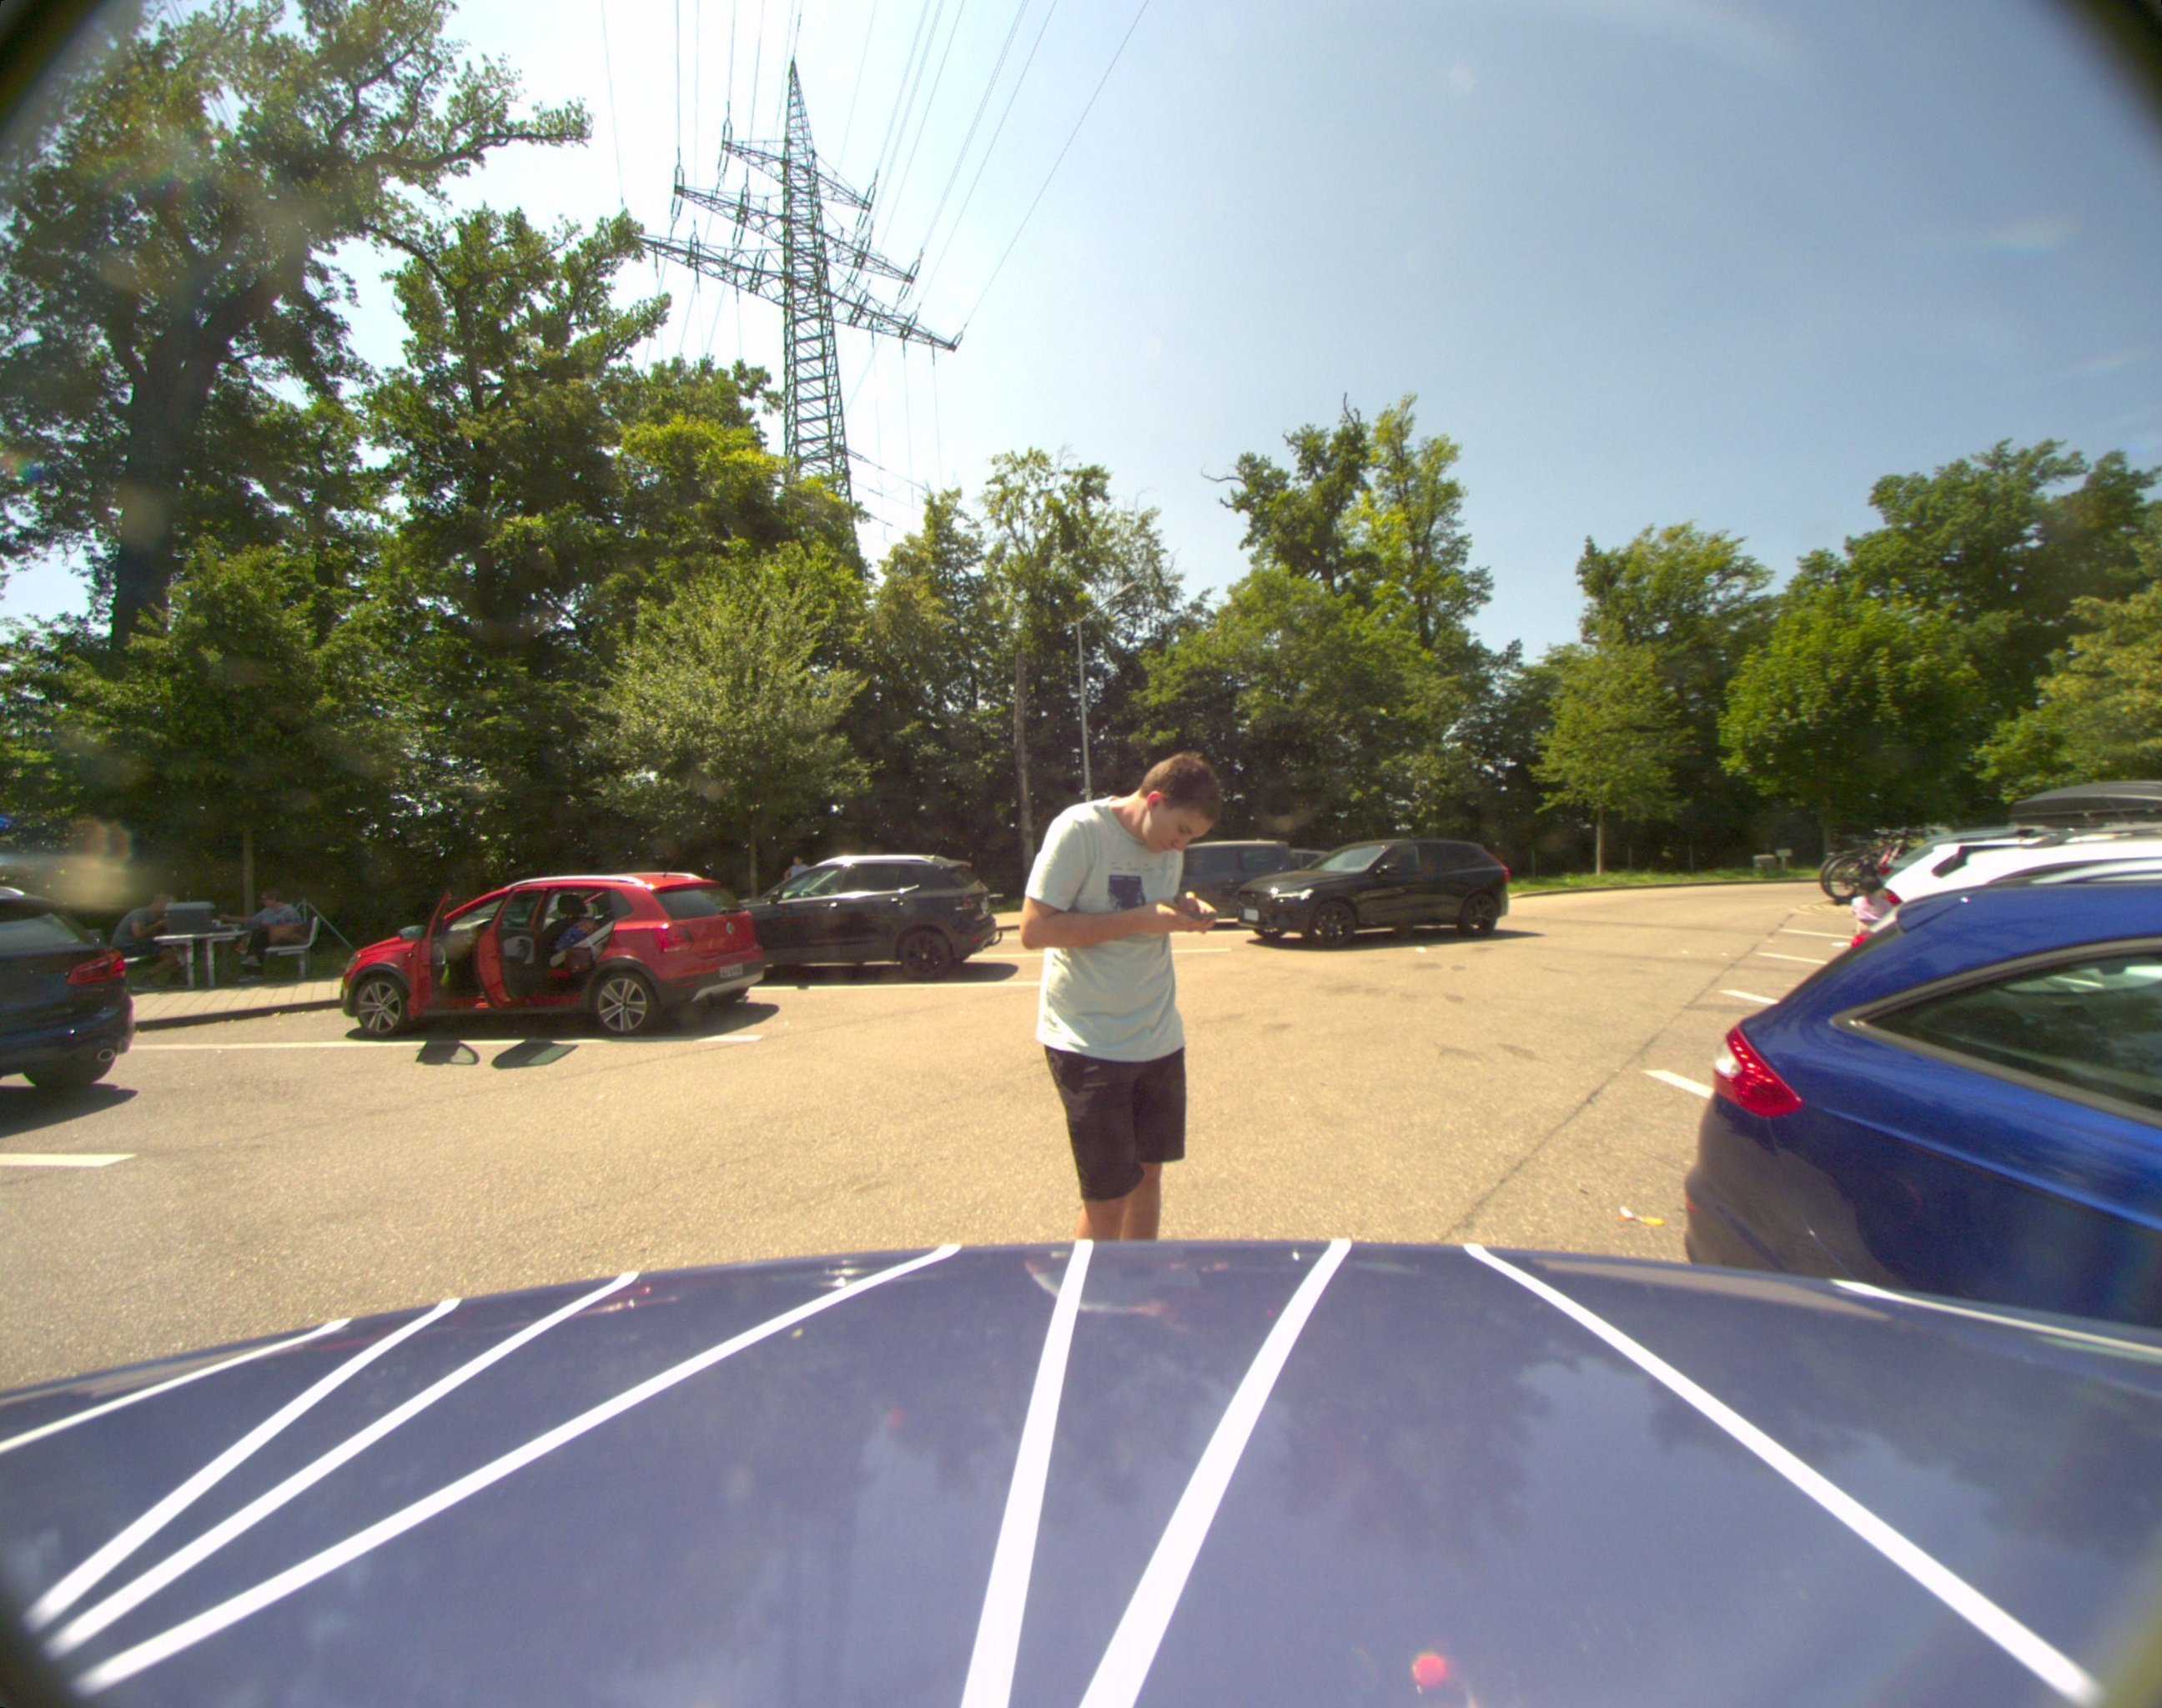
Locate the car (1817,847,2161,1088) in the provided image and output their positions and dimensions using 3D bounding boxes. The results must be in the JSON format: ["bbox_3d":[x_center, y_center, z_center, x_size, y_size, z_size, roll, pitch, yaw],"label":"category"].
[{"bbox_3d":[7.483,0.677,4.510,1.776,1.418,4.495,-3,-1,-1],"label":"car"}]

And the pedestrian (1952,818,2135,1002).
[{"bbox_3d":[9.176,0.515,7.284,0.832,1.653,0.677,-2,0,18],"label":"pedestrian"}]

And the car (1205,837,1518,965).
[{"bbox_3d":[4.596,0.647,12.515,4.621,1.703,1.996,-2,1,-20],"label":"car"}]

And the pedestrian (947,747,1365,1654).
[{"bbox_3d":[0.156,0.728,2.065,0.862,1.940,0.687,-3,1,-18],"label":"pedestrian"}]

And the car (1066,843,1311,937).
[{"bbox_3d":[2.146,0.718,15.468,4.619,1.701,1.740,-2,0,9],"label":"car"}]

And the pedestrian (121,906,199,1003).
[{"bbox_3d":[-12.624,1.355,10.434,0.695,1.228,0.588,-3,0,43],"label":"pedestrian"}]

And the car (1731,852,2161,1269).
[{"bbox_3d":[4.881,0.746,2.351,1.776,1.491,4.495,-3,-1,-1],"label":"car"}]

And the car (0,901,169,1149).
[{"bbox_3d":[-8.877,1.175,4.988,3.934,1.534,1.812,-2,0,7],"label":"car"}]

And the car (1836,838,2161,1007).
[{"bbox_3d":[10.116,0.573,6.897,1.777,1.418,4.493,-3,-1,-5],"label":"car"}]

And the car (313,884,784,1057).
[{"bbox_3d":[-5.182,1.102,7.633,3.730,1.440,1.591,-2,0,7],"label":"car"}]

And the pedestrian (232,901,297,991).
[{"bbox_3d":[-11.943,1.321,11.123,0.695,1.228,0.588,-3,0,43],"label":"pedestrian"}]

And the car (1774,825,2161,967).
[{"bbox_3d":[12.547,0.477,10.368,1.777,1.541,4.493,-3,-1,-5],"label":"car"}]

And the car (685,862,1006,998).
[{"bbox_3d":[-3.025,0.958,10.311,3.732,1.578,1.739,-2,0,2],"label":"car"}]

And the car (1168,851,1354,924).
[{"bbox_3d":[4.150,0.748,18.007,3.996,1.495,1.687,-2,1,3],"label":"car"}]

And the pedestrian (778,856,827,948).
[{"bbox_3d":[-5.750,0.978,15.682,0.767,1.821,0.519,-3,1,-36],"label":"pedestrian"}]
